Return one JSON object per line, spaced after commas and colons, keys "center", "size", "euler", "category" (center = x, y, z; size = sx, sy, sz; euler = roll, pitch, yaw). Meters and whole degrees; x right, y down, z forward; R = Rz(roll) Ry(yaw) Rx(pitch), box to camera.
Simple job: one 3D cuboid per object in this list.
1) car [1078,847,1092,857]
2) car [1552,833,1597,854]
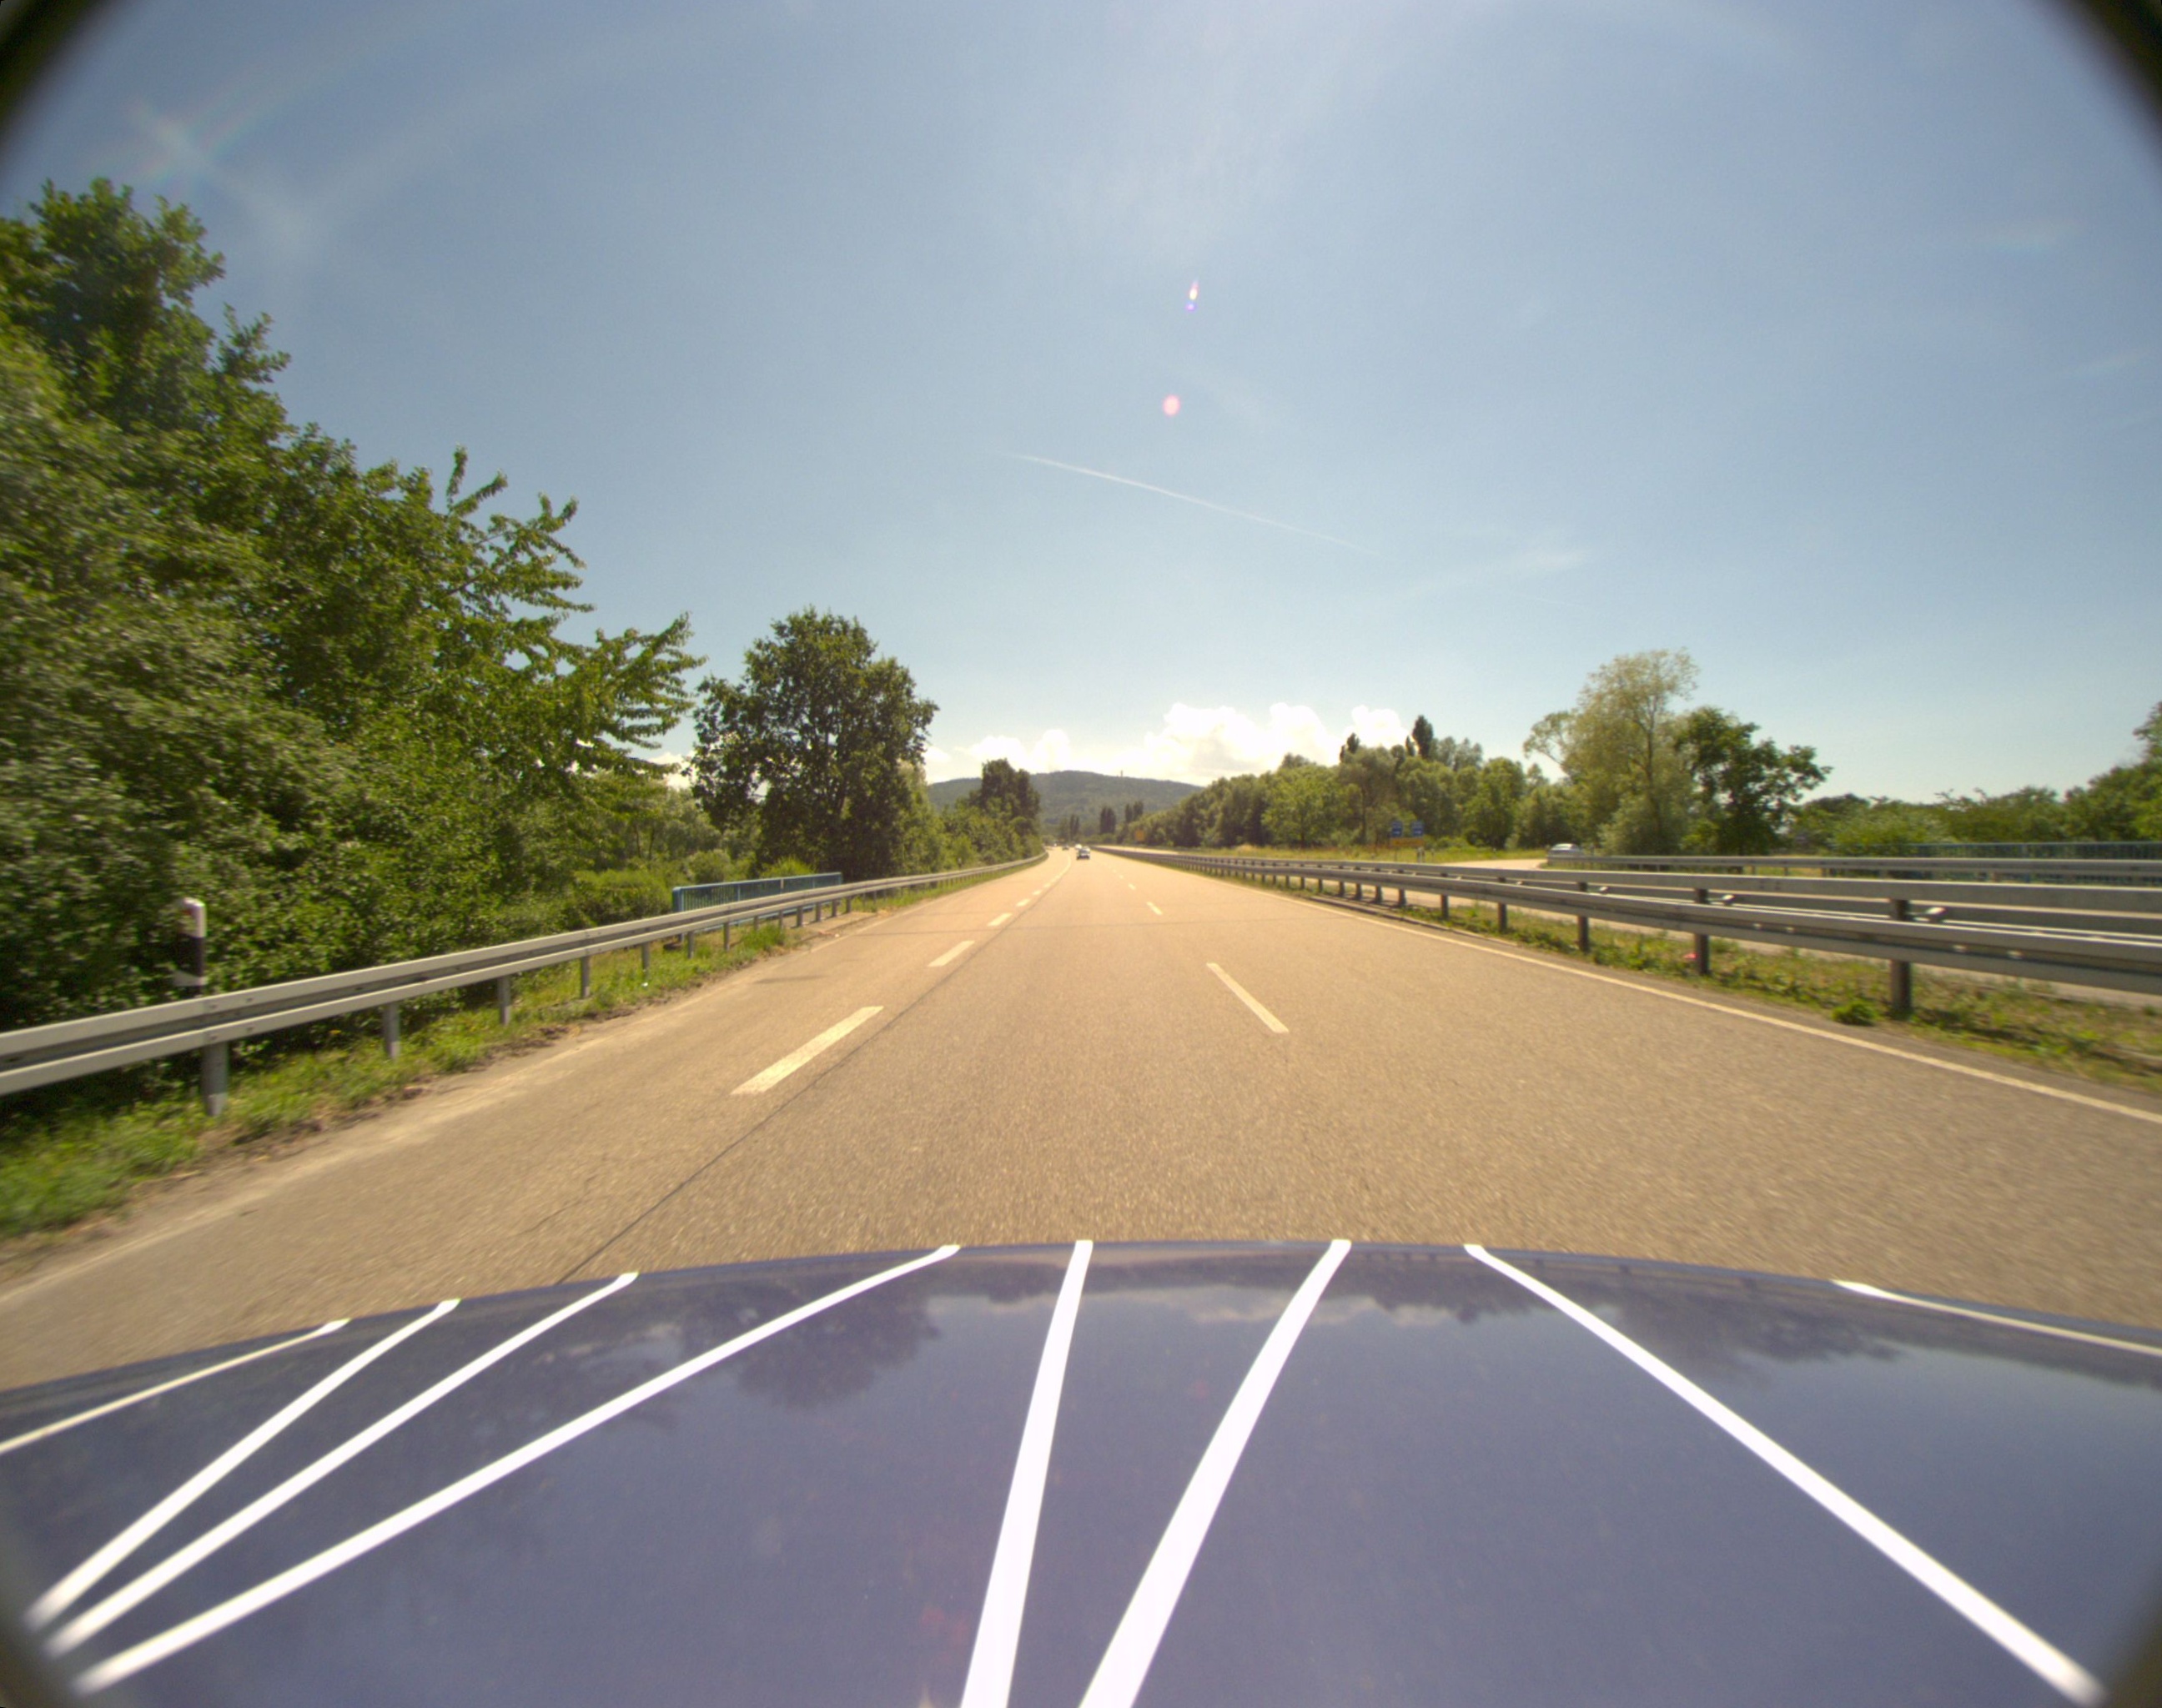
{"center": [0.562, -0.330, 112.849], "size": [1.908, 1.368, 3.890], "euler": [-2, 1, 2], "category": "car"}
{"center": [44.351, -0.939, 68.219], "size": [4.951, 1.635, 1.725], "euler": [-3, 1, -36], "category": "car"}
